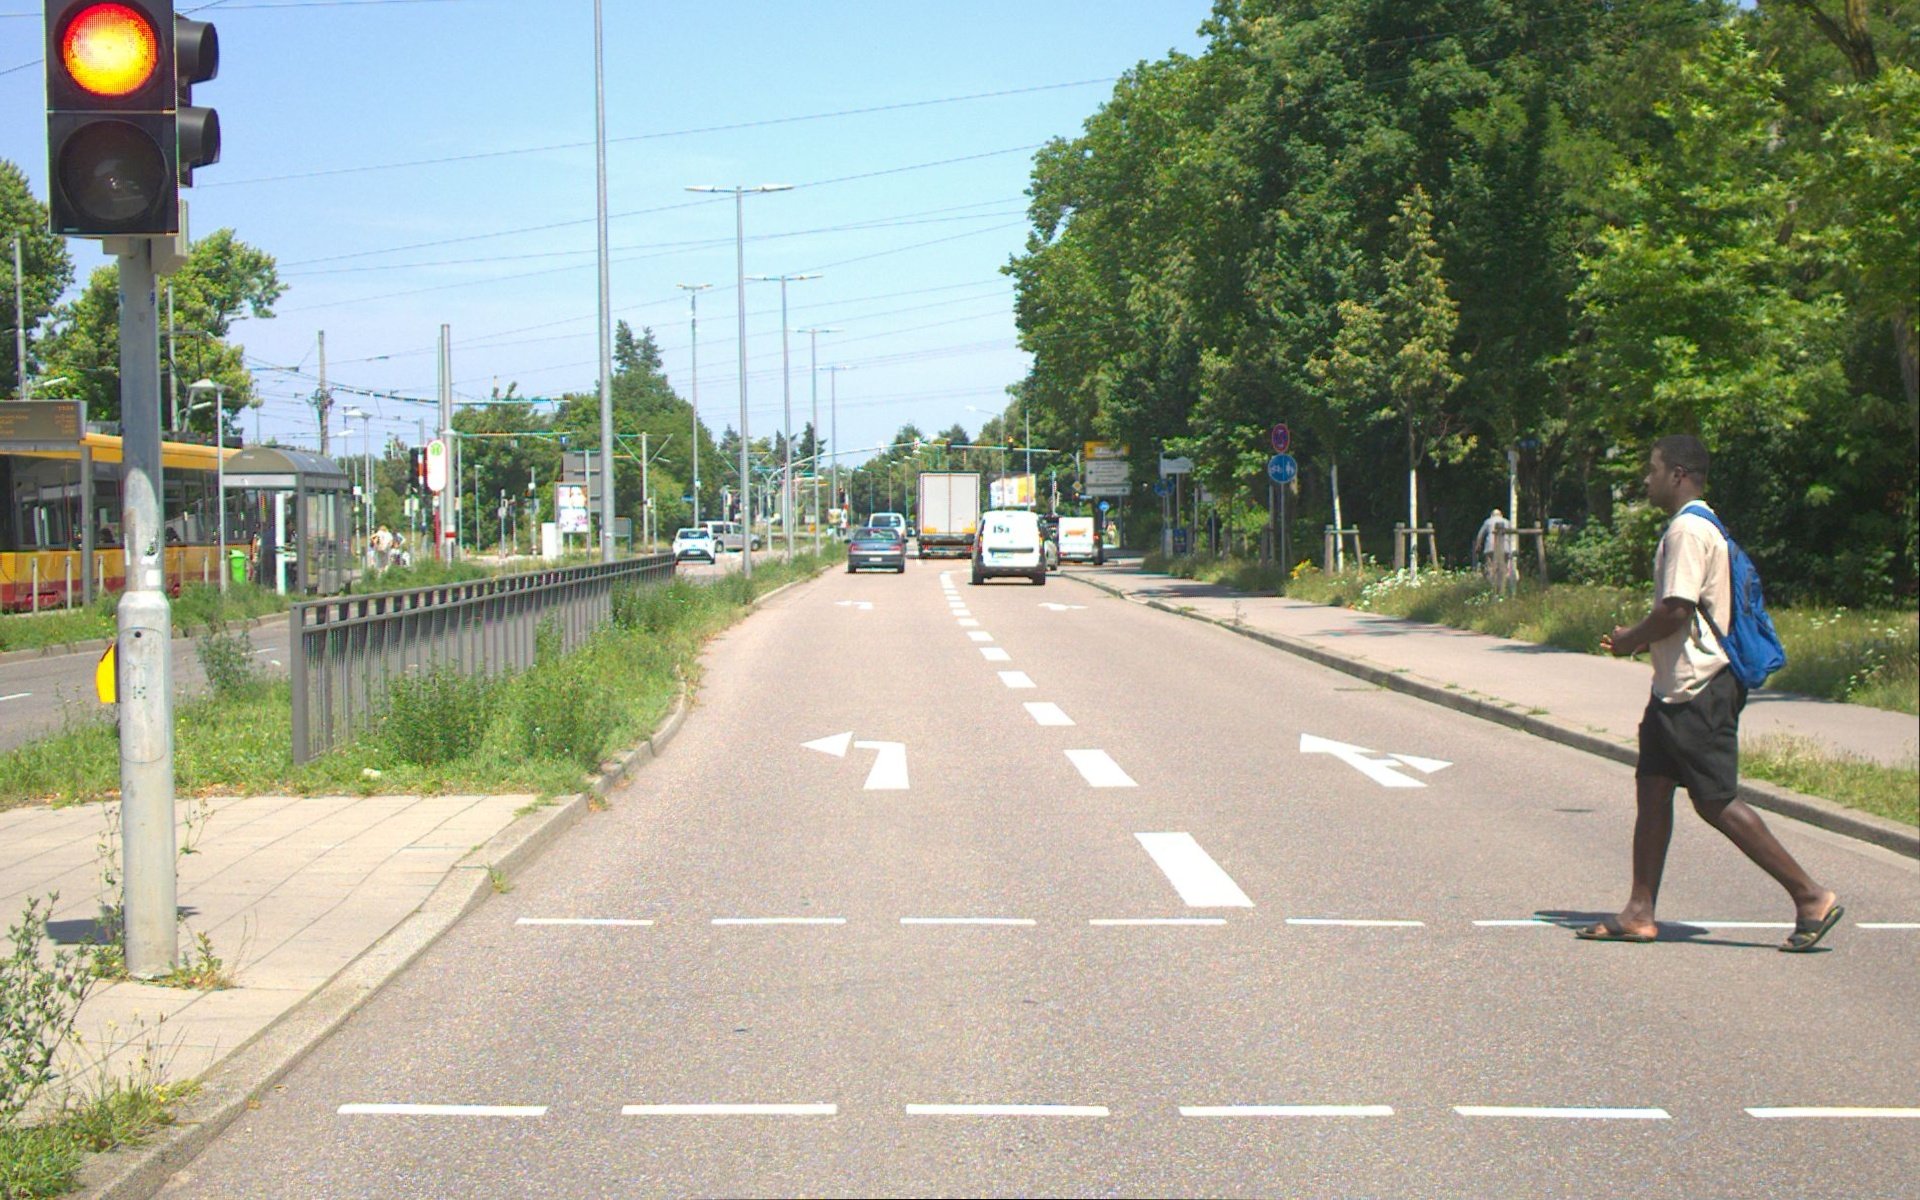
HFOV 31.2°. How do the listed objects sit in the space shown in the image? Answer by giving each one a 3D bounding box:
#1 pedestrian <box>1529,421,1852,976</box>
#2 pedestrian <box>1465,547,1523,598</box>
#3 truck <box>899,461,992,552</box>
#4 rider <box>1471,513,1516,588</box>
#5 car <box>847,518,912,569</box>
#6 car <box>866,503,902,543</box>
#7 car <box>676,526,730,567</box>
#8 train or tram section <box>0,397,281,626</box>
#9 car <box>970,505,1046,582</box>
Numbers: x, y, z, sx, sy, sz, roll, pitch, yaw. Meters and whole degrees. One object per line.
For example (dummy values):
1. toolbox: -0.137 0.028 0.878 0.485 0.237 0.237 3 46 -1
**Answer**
1. pedestrian: 2.543 0.316 11.925 1.047 1.844 0.757 1 1 15
2. pedestrian: 9.108 -0.473 58.681 0.678 0.845 1.774 0 1 -1
3. truck: -0.692 -4.095 150.660 3.899 3.799 10.794 0 1 -1
4. rider: 9.097 -0.845 58.673 0.678 1.277 0.534 0 1 -1
5. car: -2.400 -1.718 103.520 1.802 1.481 4.000 0 1 1
6. car: -3.669 -3.736 166.605 1.687 1.891 3.871 0 1 -1
7. car: -10.606 -2.229 142.147 1.993 1.644 4.000 0 1 -1
8. train or tram section: -16.855 -1.663 66.093 2.787 3.655 26.001 0 1 -1
9. car: 1.192 -1.410 83.875 1.728 1.807 4.000 1 2 3
